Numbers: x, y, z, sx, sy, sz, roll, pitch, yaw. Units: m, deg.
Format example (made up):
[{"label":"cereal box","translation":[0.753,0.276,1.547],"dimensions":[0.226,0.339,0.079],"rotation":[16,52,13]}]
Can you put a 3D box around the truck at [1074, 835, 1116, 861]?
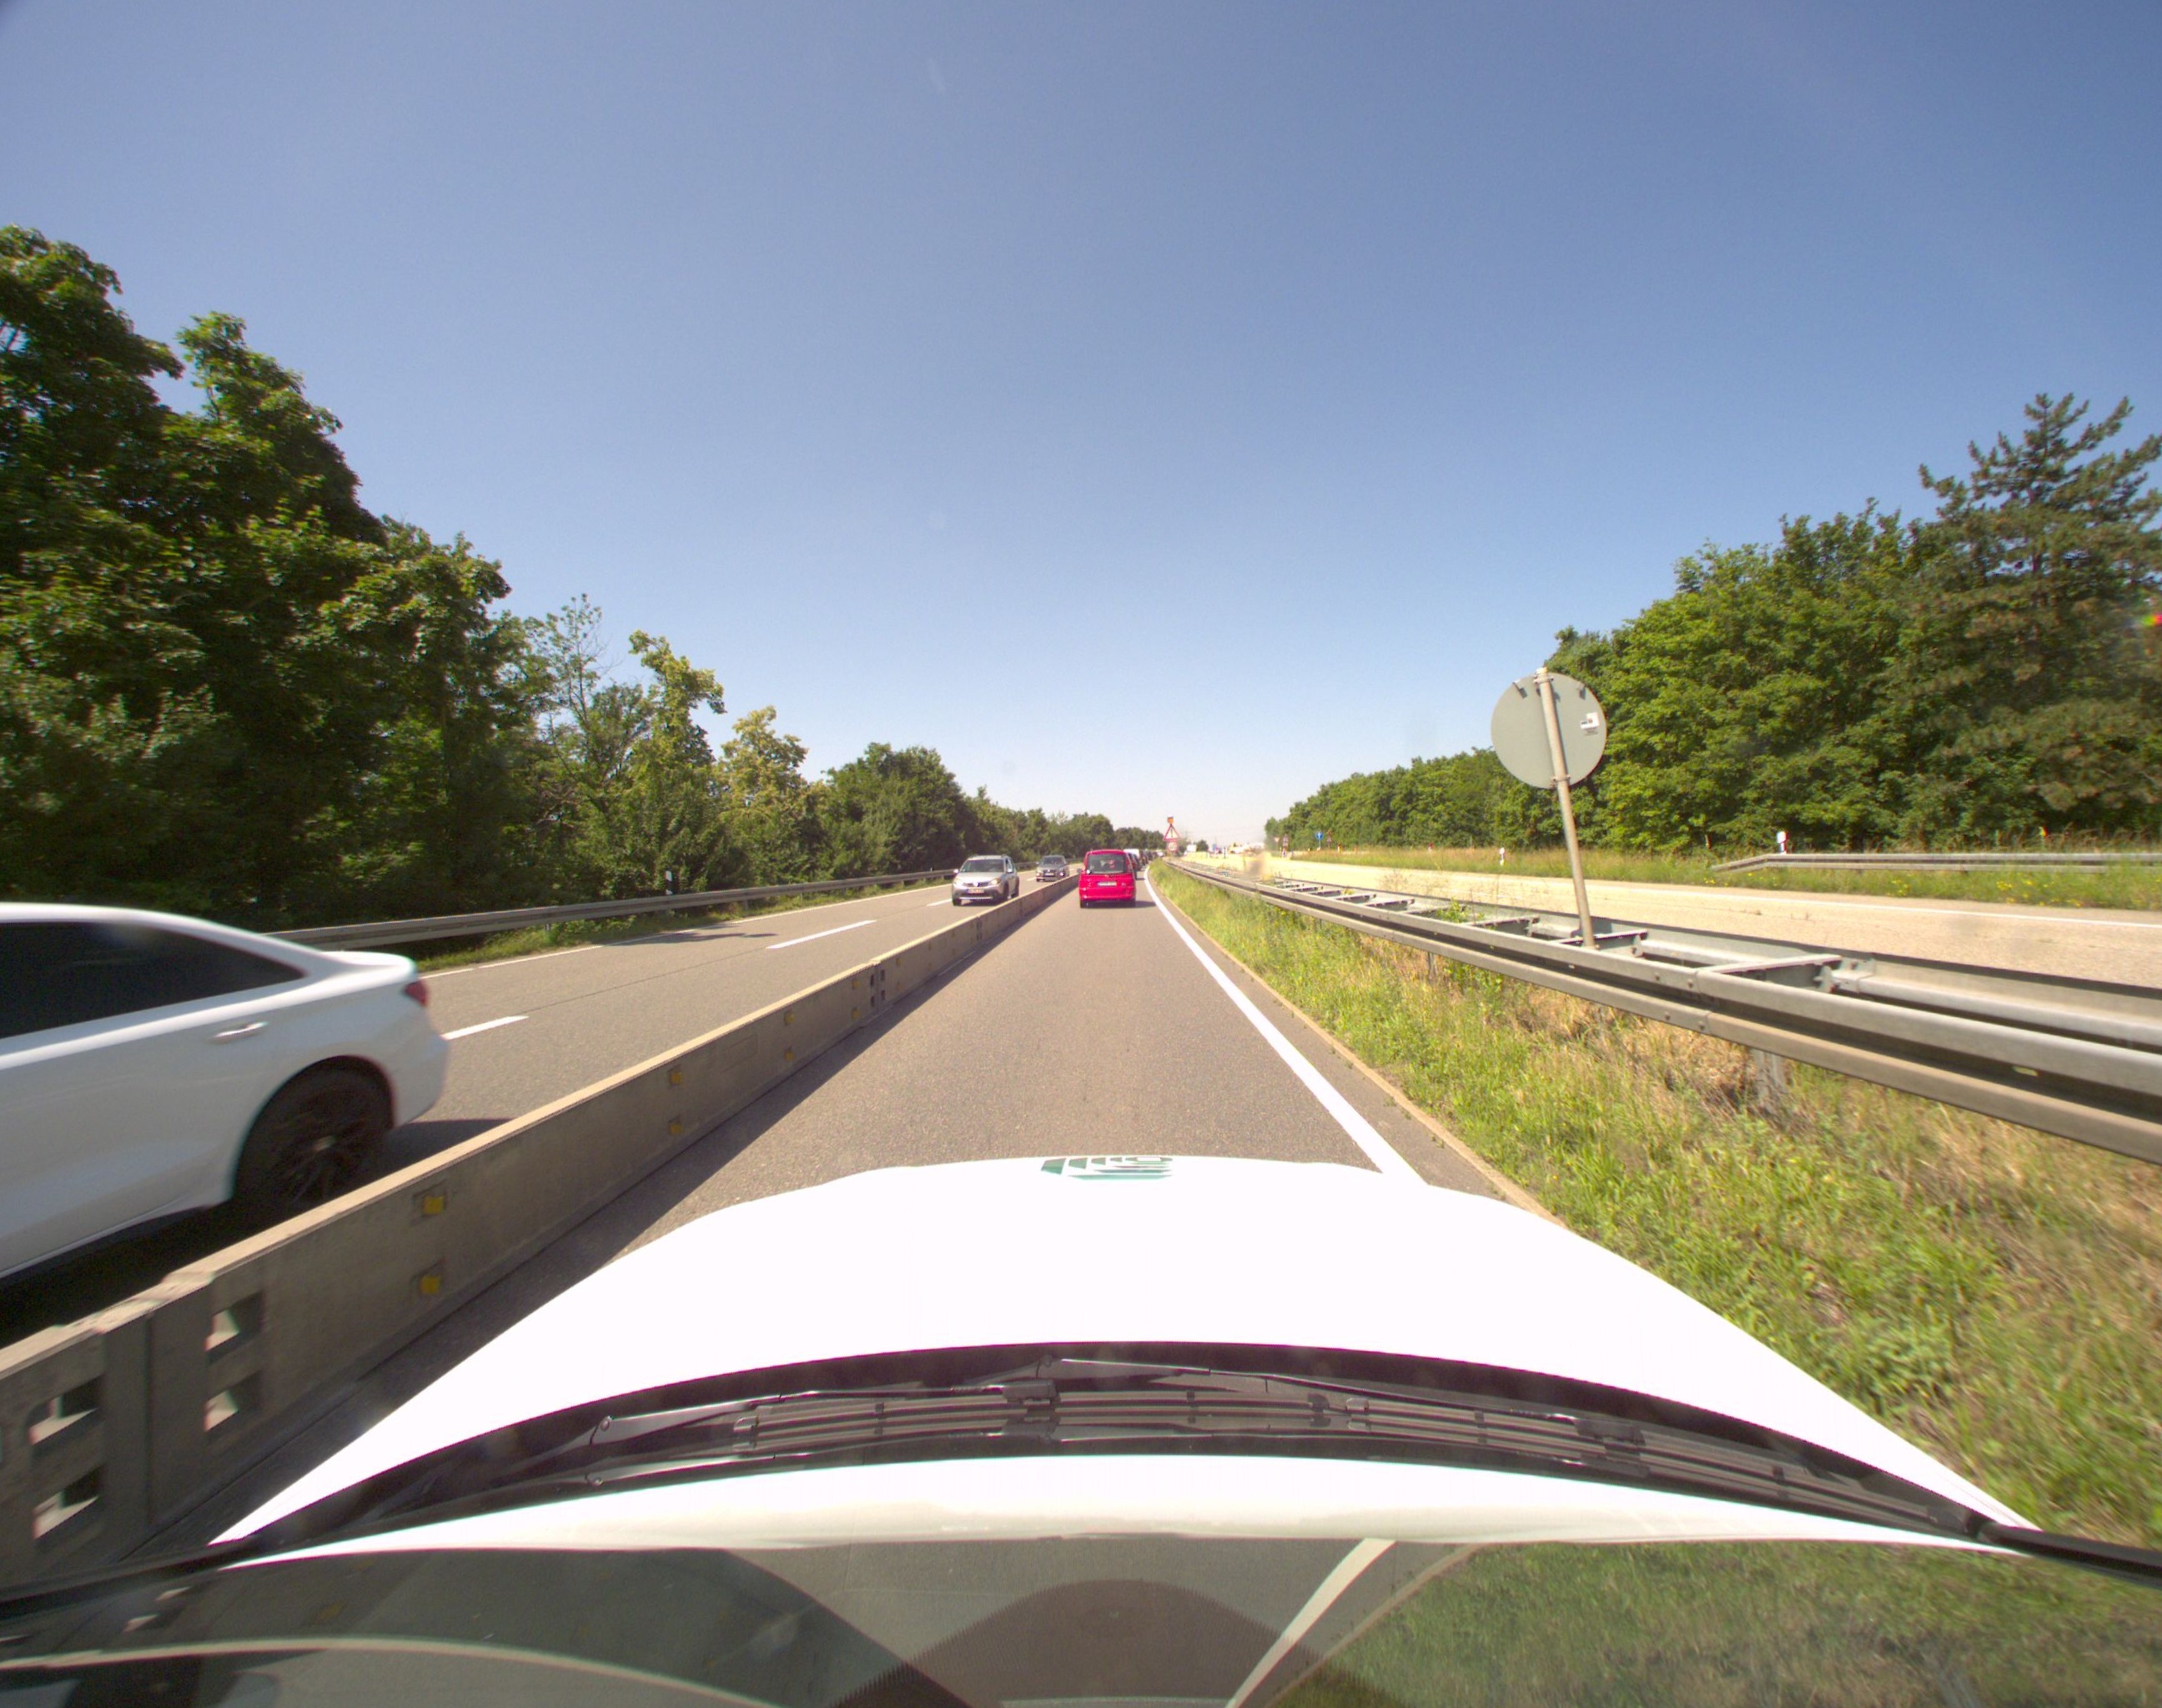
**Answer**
[{"label":"truck","translation":[3.141,-1.233,179.307],"dimensions":[8.575,5.375,3.395],"rotation":[-2,0,6]}]

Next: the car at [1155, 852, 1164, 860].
[{"label":"car","translation":[14.525,0.339,151.048],"dimensions":[1.413,1.298,2.885],"rotation":[-2,0,8]}]

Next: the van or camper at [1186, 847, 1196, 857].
[{"label":"van or camper","translation":[31.885,-0.659,235.926],"dimensions":[2.318,2.707,4.597],"rotation":[-2,0,3]}]

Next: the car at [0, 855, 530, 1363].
[{"label":"car","translation":[-4.253,0.787,2.551],"dimensions":[1.942,1.539,4.437],"rotation":[-1,0,1]}]

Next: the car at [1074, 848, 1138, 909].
[{"label":"car","translation":[0.732,0.686,24.851],"dimensions":[1.745,1.673,4.000],"rotation":[-1,0,1]}]

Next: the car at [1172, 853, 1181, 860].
[{"label":"car","translation":[22.428,0.639,190.569],"dimensions":[1.984,1.552,4.006],"rotation":[-1,0,5]}]

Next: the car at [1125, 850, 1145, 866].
[{"label":"car","translation":[5.938,0.431,90.151],"dimensions":[1.986,1.750,4.002],"rotation":[-2,0,2]}]

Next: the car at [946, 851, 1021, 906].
[{"label":"car","translation":[-3.124,0.772,26.759],"dimensions":[1.822,1.630,3.786],"rotation":[-2,-1,2]}]

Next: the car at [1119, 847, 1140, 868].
[{"label":"car","translation":[4.674,0.341,78.419],"dimensions":[1.985,2.003,4.003],"rotation":[-1,0,3]}]

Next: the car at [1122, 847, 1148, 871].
[{"label":"car","translation":[4.434,0.426,67.224],"dimensions":[1.986,1.838,4.002],"rotation":[-2,0,2]}]

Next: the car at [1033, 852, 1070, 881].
[{"label":"car","translation":[-1.679,0.724,47.559],"dimensions":[1.942,1.579,4.435],"rotation":[-2,0,0]}]

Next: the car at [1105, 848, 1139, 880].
[{"label":"car","translation":[2.371,0.551,47.692],"dimensions":[1.824,1.722,4.000],"rotation":[-2,0,1]}]

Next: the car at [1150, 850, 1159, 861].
[{"label":"car","translation":[12.295,0.260,136.432],"dimensions":[1.494,1.736,3.175],"rotation":[-1,0,6]}]

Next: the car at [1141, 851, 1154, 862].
[{"label":"car","translation":[9.917,0.389,121.596],"dimensions":[1.984,1.585,4.004],"rotation":[-1,0,4]}]
